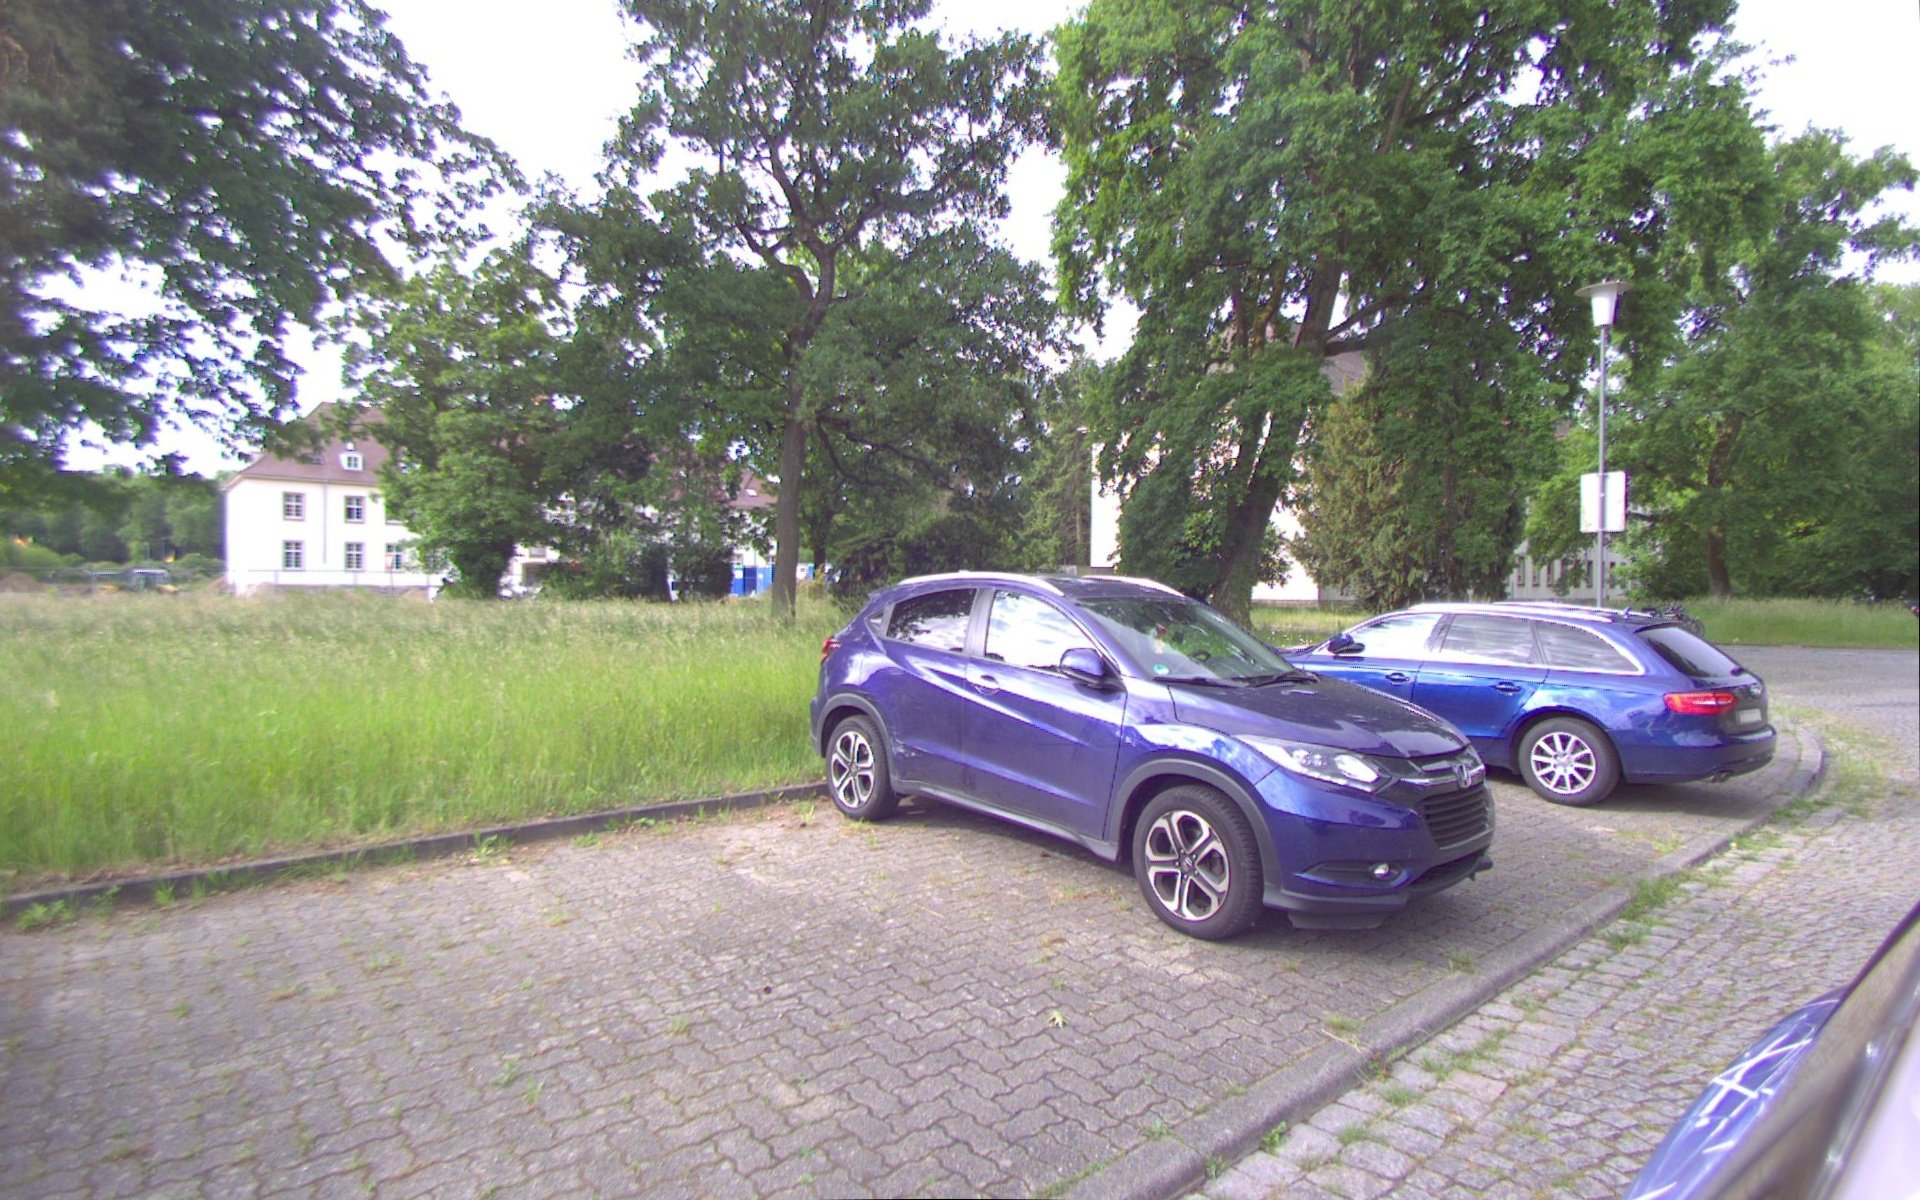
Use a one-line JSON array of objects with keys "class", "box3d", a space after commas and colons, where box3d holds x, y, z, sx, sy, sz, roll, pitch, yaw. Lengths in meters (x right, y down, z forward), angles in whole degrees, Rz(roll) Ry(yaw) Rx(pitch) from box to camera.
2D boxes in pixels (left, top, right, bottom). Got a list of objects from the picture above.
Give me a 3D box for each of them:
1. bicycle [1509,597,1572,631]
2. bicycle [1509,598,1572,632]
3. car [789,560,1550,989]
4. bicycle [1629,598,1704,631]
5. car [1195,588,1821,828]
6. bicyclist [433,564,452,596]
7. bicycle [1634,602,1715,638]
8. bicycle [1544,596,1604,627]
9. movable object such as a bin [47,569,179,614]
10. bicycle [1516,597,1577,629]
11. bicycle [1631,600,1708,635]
[{"class": "bicycle", "box3d": [20.083, 0.483, 35.040, 1.839, 1.137, 0.616, 0, 0, 27]}, {"class": "bicycle", "box3d": [19.763, 0.489, 34.490, 1.839, 1.137, 0.616, 0, 0, 27]}, {"class": "car", "box3d": [0.845, 0.593, 5.915, 1.762, 1.591, 4.170, -1, 2, -40]}, {"class": "bicycle", "box3d": [24.130, 0.487, 34.589, 2.009, 1.090, 0.616, 0, 0, 27]}, {"class": "car", "box3d": [4.405, 0.673, 8.853, 1.752, 1.439, 4.483, 0, 2, -37]}, {"class": "bicyclist", "box3d": [-27.384, -1.047, 53.510, 0.759, 1.717, 0.726, 0, 0, -40]}, {"class": "bicycle", "box3d": [22.118, 0.608, 31.360, 1.951, 1.090, 0.584, 0, 0, 23]}, {"class": "bicycle", "box3d": [22.842, 0.433, 37.679, 1.839, 1.137, 0.616, 0, 0, 27]}, {"class": "movable object such as a bin", "box3d": [-52.251, -0.563, 62.608, 5.853, 2.688, 2.179, 0, 0, -24]}, {"class": "bicycle", "box3d": [21.074, 0.466, 36.393, 1.839, 1.137, 0.616, 0, 0, 27]}, {"class": "bicycle", "box3d": [22.950, 0.557, 32.781, 1.951, 1.090, 0.584, 0, 0, 23]}]
